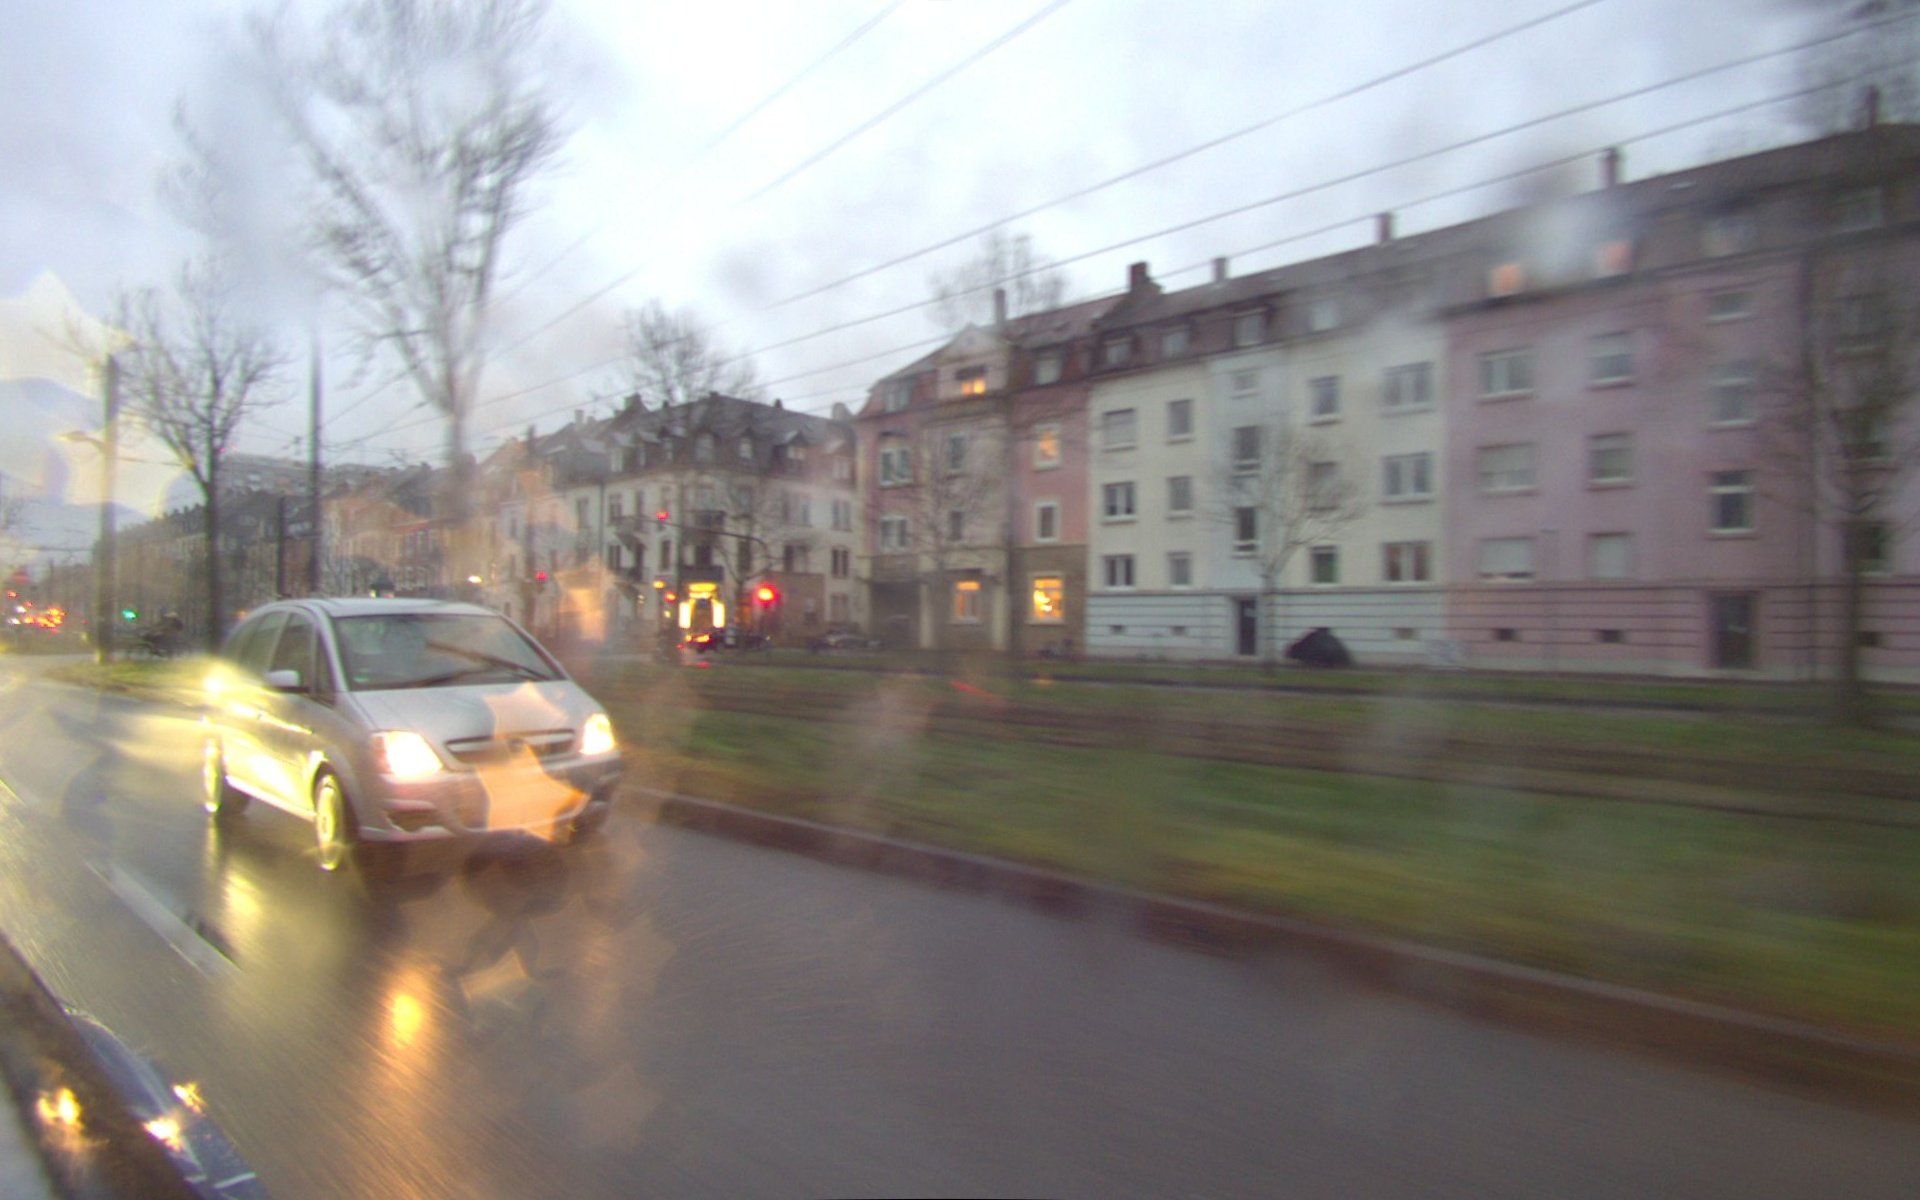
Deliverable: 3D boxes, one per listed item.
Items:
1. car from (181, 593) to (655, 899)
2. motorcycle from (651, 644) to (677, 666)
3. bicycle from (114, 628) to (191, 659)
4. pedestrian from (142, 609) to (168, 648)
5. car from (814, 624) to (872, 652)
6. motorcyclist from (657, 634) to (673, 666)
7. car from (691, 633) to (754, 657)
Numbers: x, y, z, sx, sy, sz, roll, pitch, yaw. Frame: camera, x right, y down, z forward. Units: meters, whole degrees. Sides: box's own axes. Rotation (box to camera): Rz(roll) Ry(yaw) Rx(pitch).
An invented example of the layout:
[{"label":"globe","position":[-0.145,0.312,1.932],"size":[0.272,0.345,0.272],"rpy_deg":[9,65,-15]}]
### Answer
[{"label":"car","position":[-3.896,0.747,6.978],"size":[3.906,1.531,1.617],"rpy_deg":[-1,0,41]},{"label":"motorcycle","position":[-10.243,1.891,34.998],"size":[0.416,0.688,1.177],"rpy_deg":[-1,0,-42]},{"label":"bicycle","position":[-24.807,1.352,31.120],"size":[0.733,0.905,1.703],"rpy_deg":[0,-3,41]},{"label":"pedestrian","position":[-24.763,0.874,31.124],"size":[0.582,1.165,0.555],"rpy_deg":[-1,0,44]},{"label":"car","position":[-7.886,2.528,68.318],"size":[3.542,1.708,1.732],"rpy_deg":[-1,0,-43]},{"label":"motorcyclist","position":[-10.153,1.715,34.876],"size":[0.410,1.069,0.346],"rpy_deg":[-1,0,-42]},{"label":"car","position":[-13.000,2.467,55.489],"size":[1.253,1.146,3.285],"rpy_deg":[-1,0,40]}]
